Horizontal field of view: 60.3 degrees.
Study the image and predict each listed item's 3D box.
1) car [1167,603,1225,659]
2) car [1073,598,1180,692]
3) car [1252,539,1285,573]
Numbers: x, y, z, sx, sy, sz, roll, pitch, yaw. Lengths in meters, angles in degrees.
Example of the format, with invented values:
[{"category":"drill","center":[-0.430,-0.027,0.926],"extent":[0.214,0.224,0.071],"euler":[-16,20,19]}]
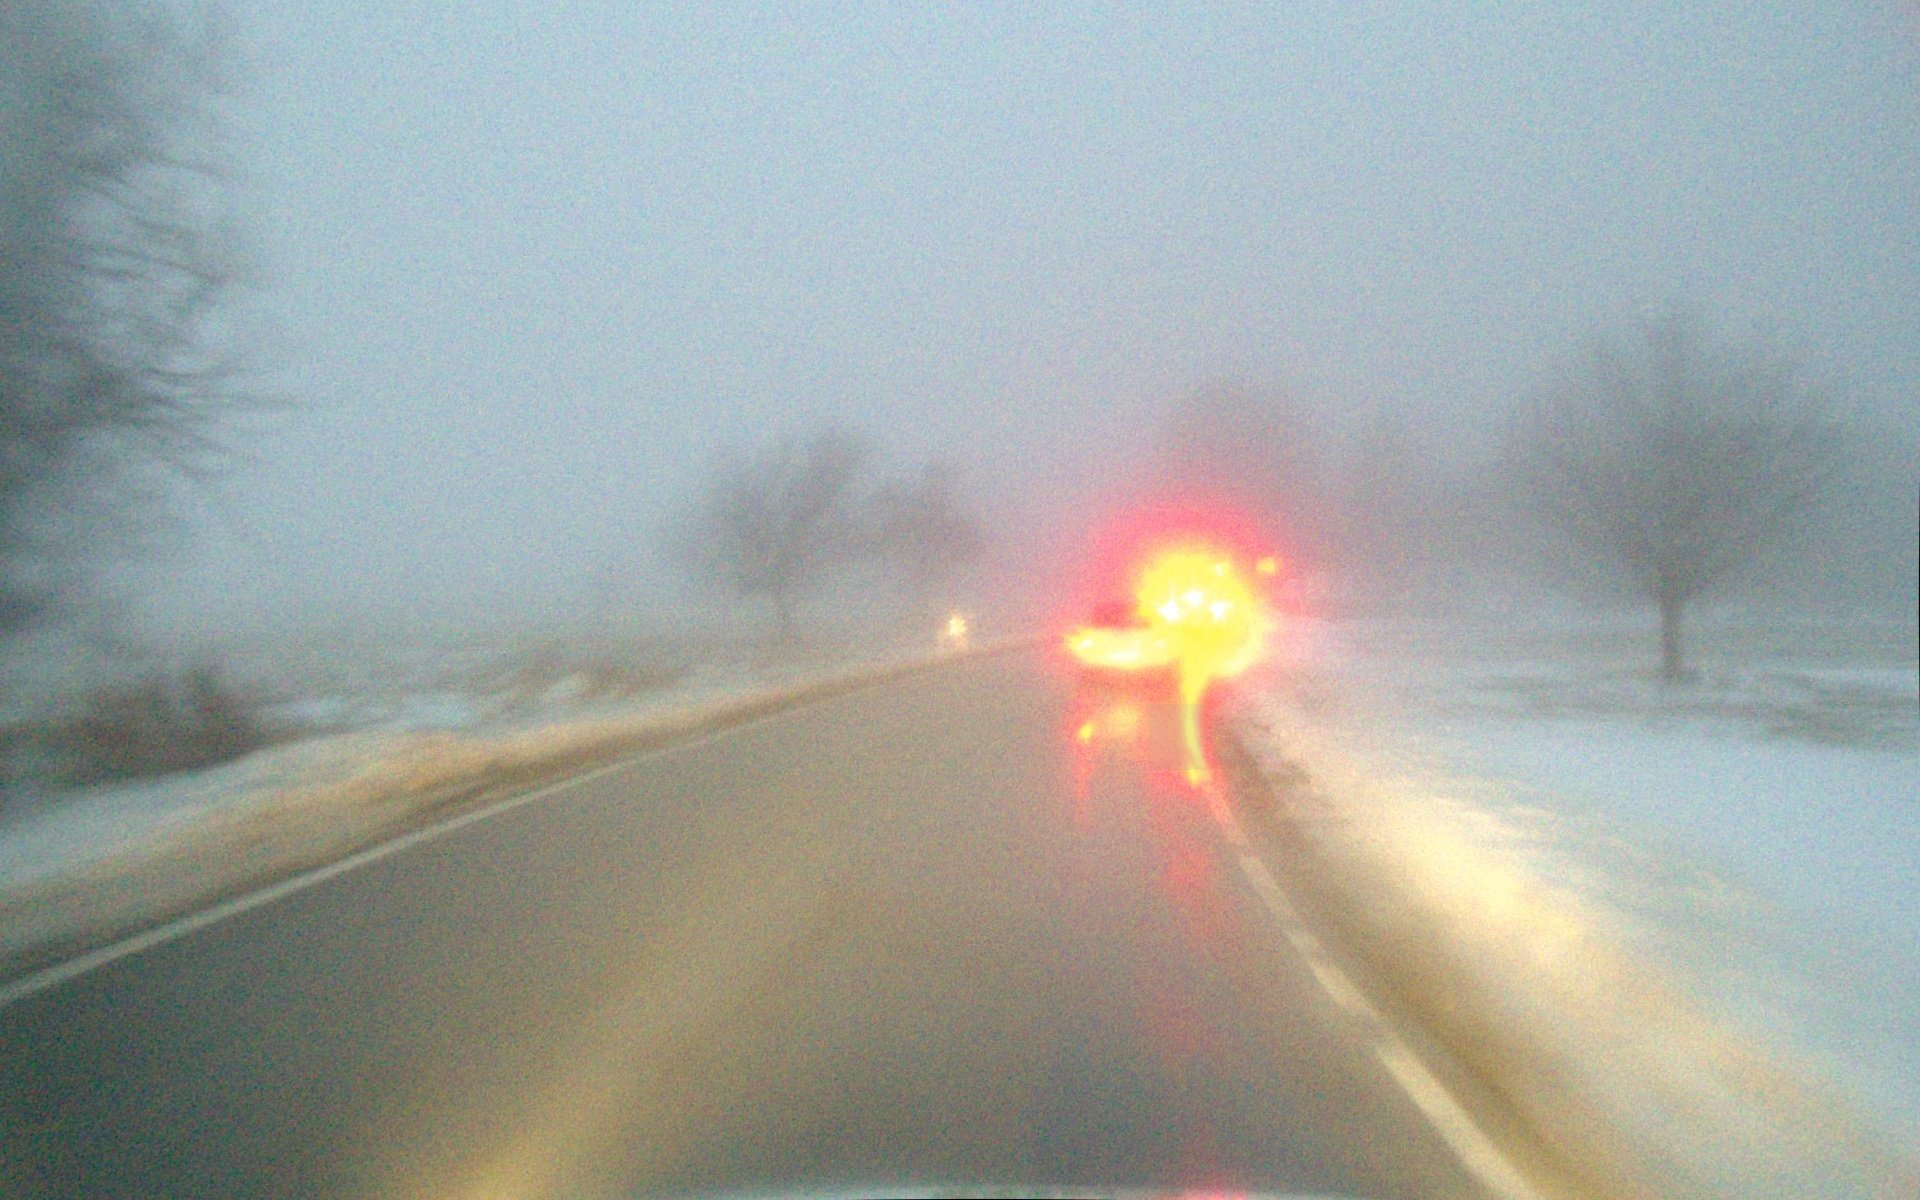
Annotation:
[{"category":"car","center":[6.860,0.865,47.888],"extent":[1.447,1.534,3.055],"euler":[-1,0,12]},{"category":"car","center":[2.997,0.761,29.182],"extent":[1.670,1.489,4.003],"euler":[2,0,8]},{"category":"car","center":[14.883,-2.102,79.772],"extent":[1.490,1.534,3.055],"euler":[-1,-1,12]}]
